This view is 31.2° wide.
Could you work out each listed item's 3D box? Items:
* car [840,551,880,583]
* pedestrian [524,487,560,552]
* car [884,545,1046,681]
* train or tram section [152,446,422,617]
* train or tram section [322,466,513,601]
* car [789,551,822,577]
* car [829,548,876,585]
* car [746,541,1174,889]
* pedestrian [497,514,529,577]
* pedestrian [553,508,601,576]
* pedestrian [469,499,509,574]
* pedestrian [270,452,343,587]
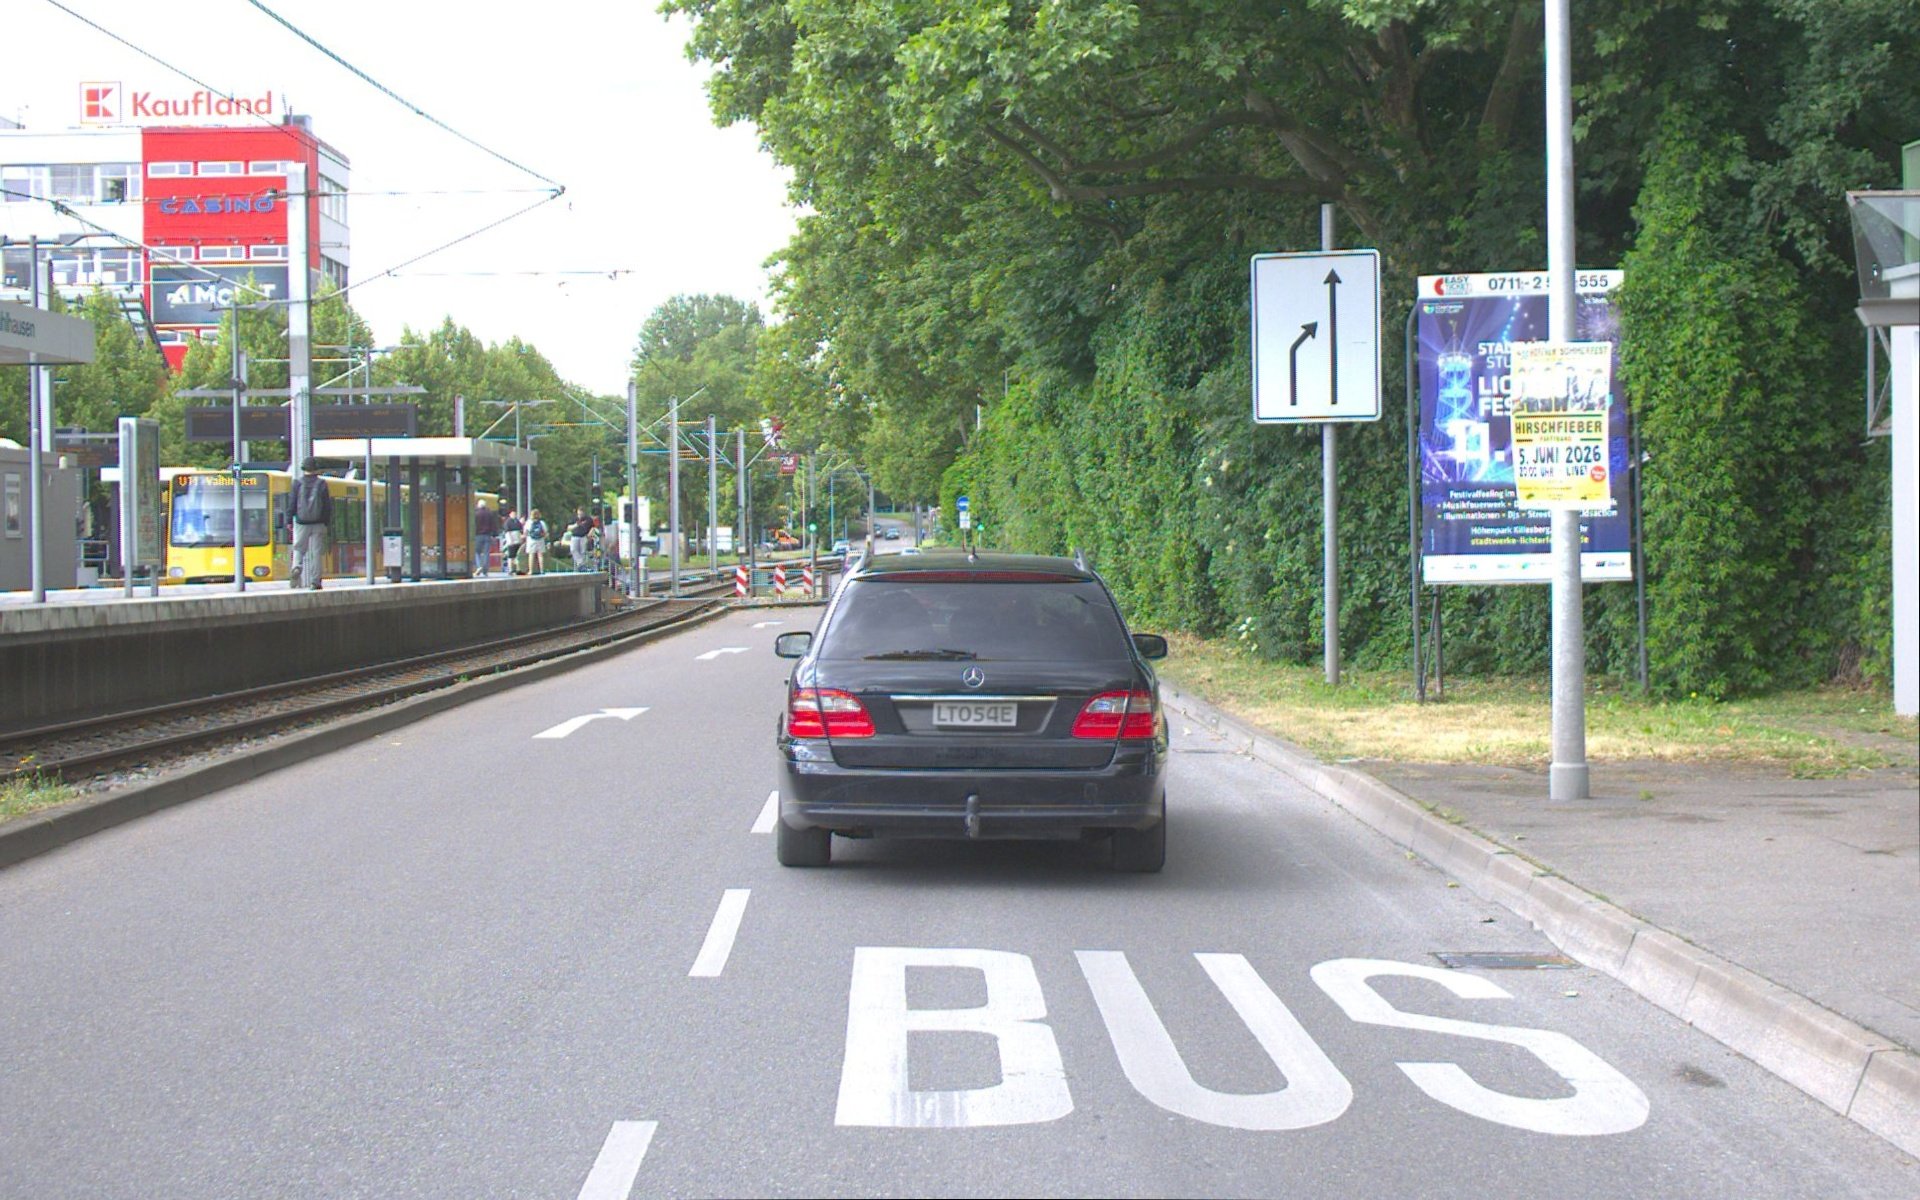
[{"bbox_3d":[-4.955,-1.643,171.468,1.825,1.524,3.927,1,1,1],"label":"car"},{"bbox_3d":[-9.743,-1.879,80.172,0.520,1.477,0.580,-2,0,37],"label":"pedestrian"},{"bbox_3d":[0.009,0.114,41.588,1.825,1.524,4.416,1,1,-1],"label":"car"},{"bbox_3d":[-16.834,-1.716,87.838,2.756,3.869,18.631,-1,1,1],"label":"train or tram section"},{"bbox_3d":[-16.534,-2.054,106.428,2.756,3.815,18.632,0,1,1],"label":"train or tram section"},{"bbox_3d":[-9.584,-2.251,213.969,1.825,1.524,3.927,1,1,1],"label":"car"},{"bbox_3d":[-4.619,-1.443,147.739,1.825,1.524,4.416,-1,1,1],"label":"car"},{"bbox_3d":[-0.013,0.458,16.959,1.833,1.473,4.416,0,1,0],"label":"car"},{"bbox_3d":[-10.560,-1.282,81.236,0.475,1.478,0.542,-2,1,-42],"label":"pedestrian"},{"bbox_3d":[-9.655,-1.460,86.631,0.745,1.672,0.874,-1,1,43],"label":"pedestrian"},{"bbox_3d":[-10.704,-1.431,78.173,0.771,1.672,0.791,-2,0,-1],"label":"pedestrian"},{"bbox_3d":[-8.643,-1.059,45.504,0.748,1.738,0.937,-2,0,-1],"label":"pedestrian"}]
